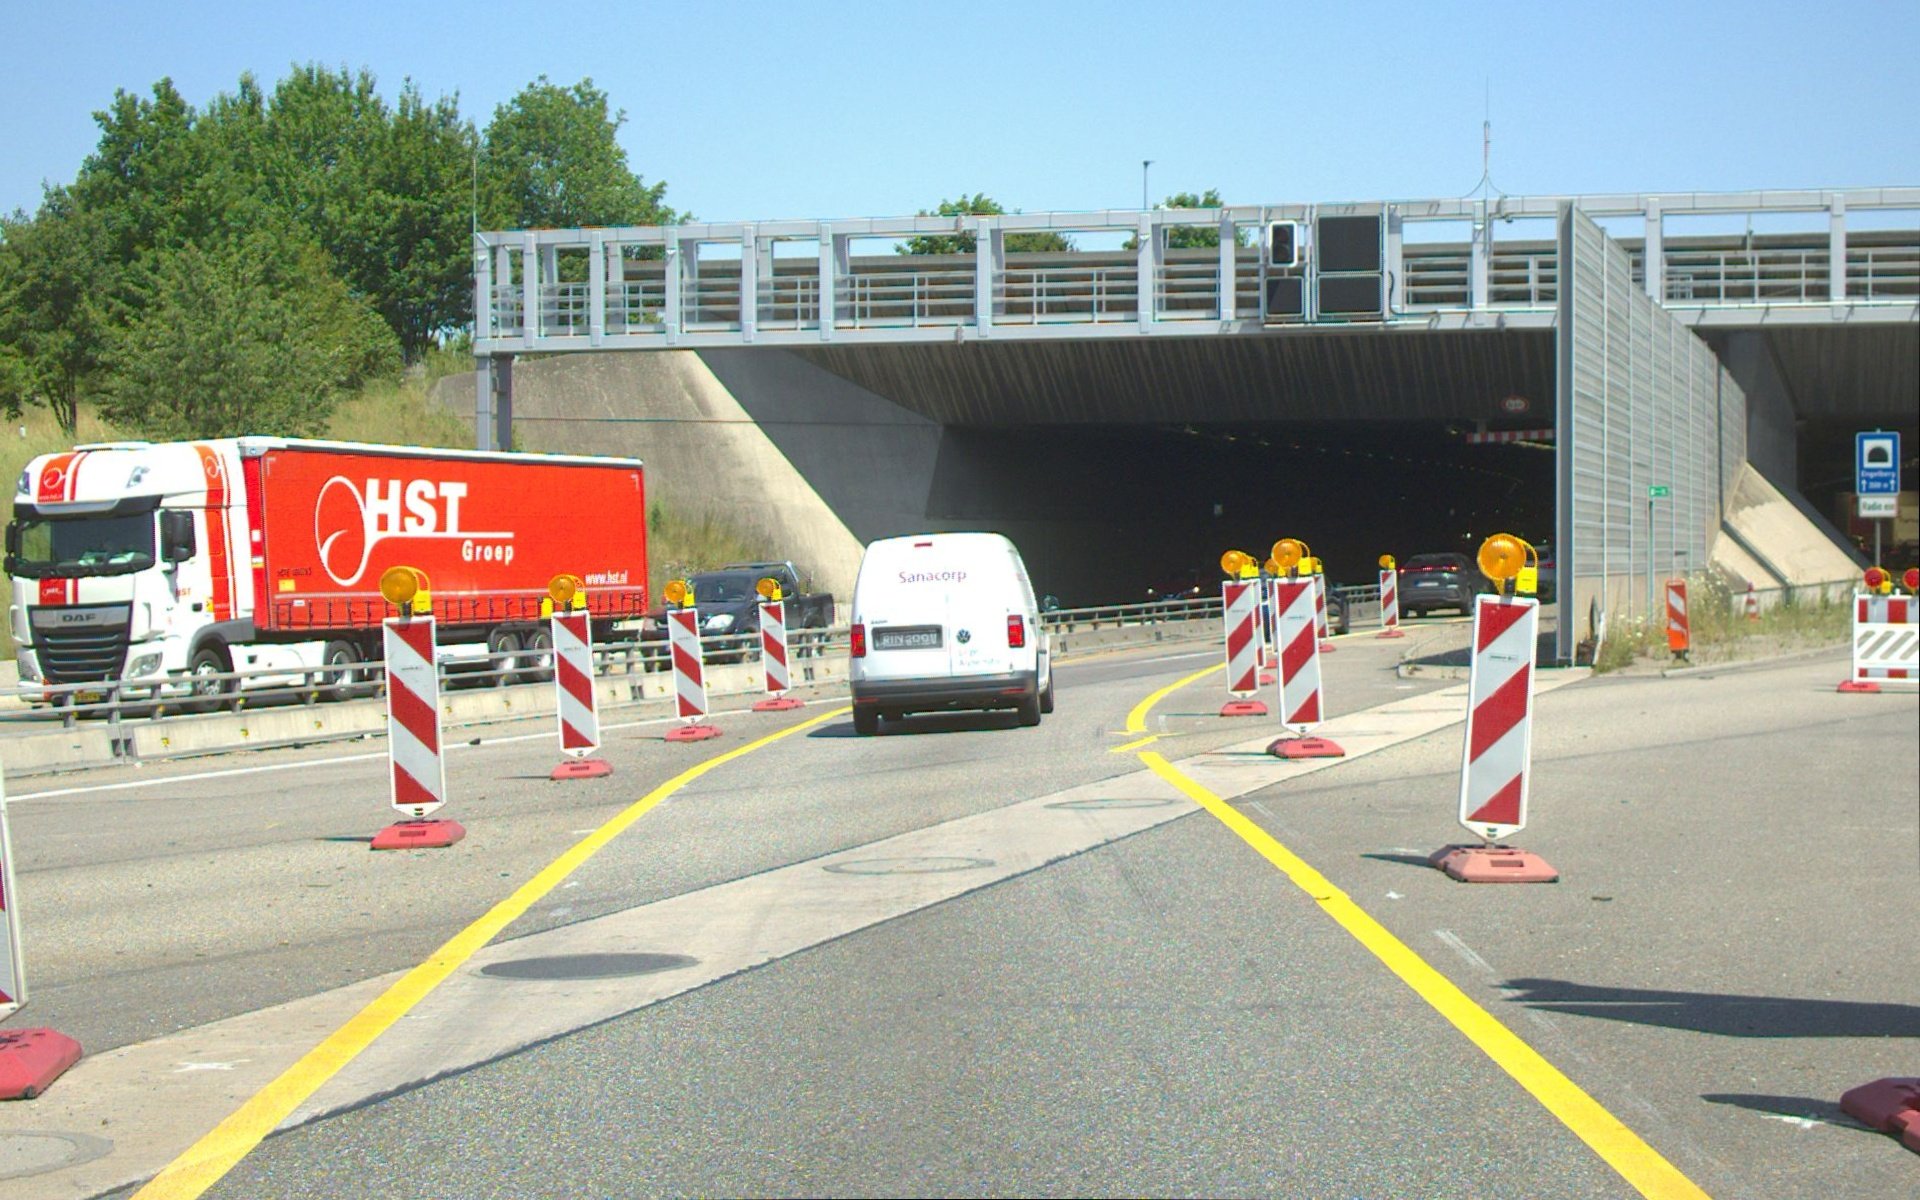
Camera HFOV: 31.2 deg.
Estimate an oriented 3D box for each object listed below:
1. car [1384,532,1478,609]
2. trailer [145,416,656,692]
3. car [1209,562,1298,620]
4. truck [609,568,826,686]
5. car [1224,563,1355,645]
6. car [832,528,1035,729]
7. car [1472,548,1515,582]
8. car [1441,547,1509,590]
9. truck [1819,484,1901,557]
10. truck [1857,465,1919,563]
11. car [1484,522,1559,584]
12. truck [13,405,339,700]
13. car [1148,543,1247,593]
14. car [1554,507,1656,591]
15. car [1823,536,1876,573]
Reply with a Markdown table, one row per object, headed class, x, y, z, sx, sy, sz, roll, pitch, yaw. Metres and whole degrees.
| class | x | y | z | sx | sy | sz | roll | pitch | yaw |
| --- | --- | --- | --- | --- | --- | --- | --- | --- | --- |
| car | 11.602 | -0.728 | 84.492 | 1.809 | 1.809 | 4.407 | -1 | 0 | 14 |
| trailer | -8.943 | -0.736 | 57.628 | 2.340 | 4.088 | 13.249 | -1 | 0 | 19 |
| car | 9.754 | -0.310 | 113.945 | 1.689 | 1.828 | 4.783 | -3 | -1 | 20 |
| truck | -4.143 | 0.431 | 59.617 | 1.995 | 1.867 | 4.757 | -1 | 1 | 20 |
| car | 6.439 | 0.055 | 66.791 | 1.810 | 1.532 | 4.406 | -1 | 0 | 15 |
| car | -0.210 | 0.244 | 32.955 | 1.808 | 1.788 | 3.731 | -1 | 0 | 1 |
| car | 28.724 | -1.907 | 184.854 | 1.774 | 1.661 | 4.804 | -3 | 1 | 14 |
| car | 20.542 | -1.271 | 137.068 | 1.744 | 1.588 | 4.223 | -2 | 0 | 21 |
| truck | 55.351 | -4.812 | 211.805 | 3.403 | 4.057 | 16.529 | 1 | 0 | 10 |
| truck | 47.363 | -4.190 | 171.914 | 3.403 | 4.320 | 16.528 | 2 | 0 | 10 |
| car | 16.388 | -1.370 | 100.240 | 1.809 | 1.745 | 4.407 | -1 | 0 | 14 |
| truck | -11.427 | -0.671 | 50.508 | 2.336 | 4.094 | 5.013 | -1 | 0 | 19 |
| car | 7.158 | -0.956 | 103.328 | 1.689 | 1.390 | 3.995 | -3 | -1 | 23 |
| car | 22.133 | -1.725 | 117.695 | 2.816 | 2.764 | 7.096 | 1 | 1 | 15 |
| car | 41.180 | -2.100 | 159.258 | 1.815 | 1.624 | 4.189 | 1 | 0 | 7 |
